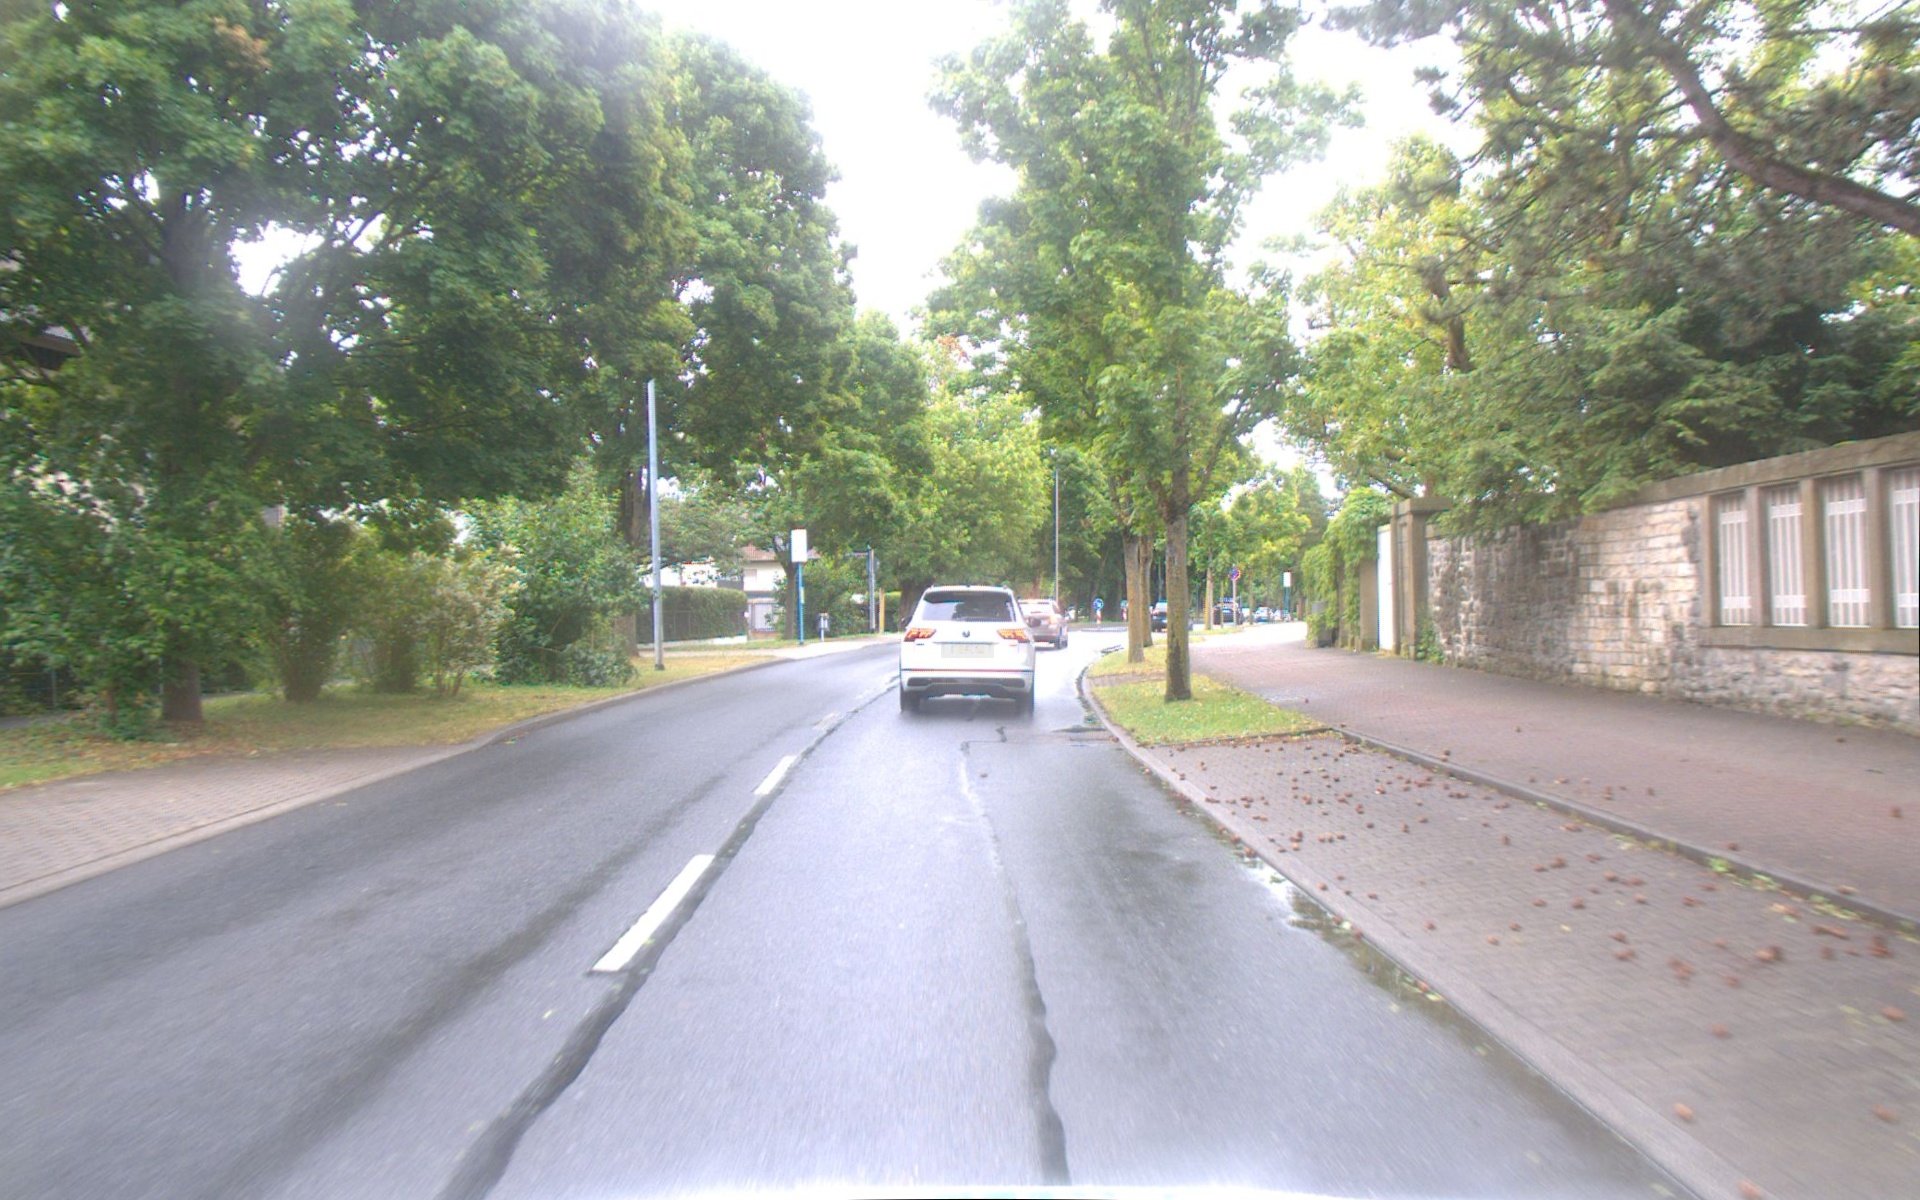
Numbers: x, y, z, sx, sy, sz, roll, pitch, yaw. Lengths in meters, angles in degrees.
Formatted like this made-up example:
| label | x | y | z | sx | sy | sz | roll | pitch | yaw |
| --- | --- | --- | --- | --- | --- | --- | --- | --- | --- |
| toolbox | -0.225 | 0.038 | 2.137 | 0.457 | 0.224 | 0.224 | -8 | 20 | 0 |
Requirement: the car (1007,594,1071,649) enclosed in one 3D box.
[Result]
| label | x | y | z | sx | sy | sz | roll | pitch | yaw |
| --- | --- | --- | --- | --- | --- | --- | --- | --- | --- |
| car | 2.433 | 0.660 | 50.441 | 1.802 | 1.513 | 4.002 | -3 | -1 | 4 |

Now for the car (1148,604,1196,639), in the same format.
| label | x | y | z | sx | sy | sz | roll | pitch | yaw |
| --- | --- | --- | --- | --- | --- | --- | --- | --- | --- |
| car | 9.991 | 0.985 | 77.779 | 1.801 | 1.513 | 4.003 | 2 | 0 | 13 |

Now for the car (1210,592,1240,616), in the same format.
| label | x | y | z | sx | sy | sz | roll | pitch | yaw |
| --- | --- | --- | --- | --- | --- | --- | --- | --- | --- |
| car | 17.846 | 0.312 | 111.528 | 1.801 | 1.513 | 4.003 | -3 | -1 | 8 |

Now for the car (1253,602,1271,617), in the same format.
| label | x | y | z | sx | sy | sz | roll | pitch | yaw |
| --- | --- | --- | --- | --- | --- | --- | --- | --- | --- |
| car | 28.326 | 0.885 | 154.976 | 1.602 | 1.349 | 4.003 | 1 | 0 | 12 |

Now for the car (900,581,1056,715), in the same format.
| label | x | y | z | sx | sy | sz | roll | pitch | yaw |
| --- | --- | --- | --- | --- | --- | --- | --- | --- | --- |
| car | 0.226 | 0.603 | 22.983 | 1.956 | 1.660 | 4.000 | 1 | 0 | 0 |

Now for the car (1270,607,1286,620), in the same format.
| label | x | y | z | sx | sy | sz | roll | pitch | yaw |
| --- | --- | --- | --- | --- | --- | --- | --- | --- | --- |
| car | 34.747 | 1.469 | 180.539 | 1.602 | 1.349 | 4.003 | 1 | 0 | 12 |

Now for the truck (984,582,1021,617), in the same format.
| label | x | y | z | sx | sy | sz | roll | pitch | yaw |
| --- | --- | --- | --- | --- | --- | --- | --- | --- | --- |
| truck | 3.432 | -0.021 | 132.413 | 2.236 | 2.642 | 5.878 | -1 | -1 | 7 |
